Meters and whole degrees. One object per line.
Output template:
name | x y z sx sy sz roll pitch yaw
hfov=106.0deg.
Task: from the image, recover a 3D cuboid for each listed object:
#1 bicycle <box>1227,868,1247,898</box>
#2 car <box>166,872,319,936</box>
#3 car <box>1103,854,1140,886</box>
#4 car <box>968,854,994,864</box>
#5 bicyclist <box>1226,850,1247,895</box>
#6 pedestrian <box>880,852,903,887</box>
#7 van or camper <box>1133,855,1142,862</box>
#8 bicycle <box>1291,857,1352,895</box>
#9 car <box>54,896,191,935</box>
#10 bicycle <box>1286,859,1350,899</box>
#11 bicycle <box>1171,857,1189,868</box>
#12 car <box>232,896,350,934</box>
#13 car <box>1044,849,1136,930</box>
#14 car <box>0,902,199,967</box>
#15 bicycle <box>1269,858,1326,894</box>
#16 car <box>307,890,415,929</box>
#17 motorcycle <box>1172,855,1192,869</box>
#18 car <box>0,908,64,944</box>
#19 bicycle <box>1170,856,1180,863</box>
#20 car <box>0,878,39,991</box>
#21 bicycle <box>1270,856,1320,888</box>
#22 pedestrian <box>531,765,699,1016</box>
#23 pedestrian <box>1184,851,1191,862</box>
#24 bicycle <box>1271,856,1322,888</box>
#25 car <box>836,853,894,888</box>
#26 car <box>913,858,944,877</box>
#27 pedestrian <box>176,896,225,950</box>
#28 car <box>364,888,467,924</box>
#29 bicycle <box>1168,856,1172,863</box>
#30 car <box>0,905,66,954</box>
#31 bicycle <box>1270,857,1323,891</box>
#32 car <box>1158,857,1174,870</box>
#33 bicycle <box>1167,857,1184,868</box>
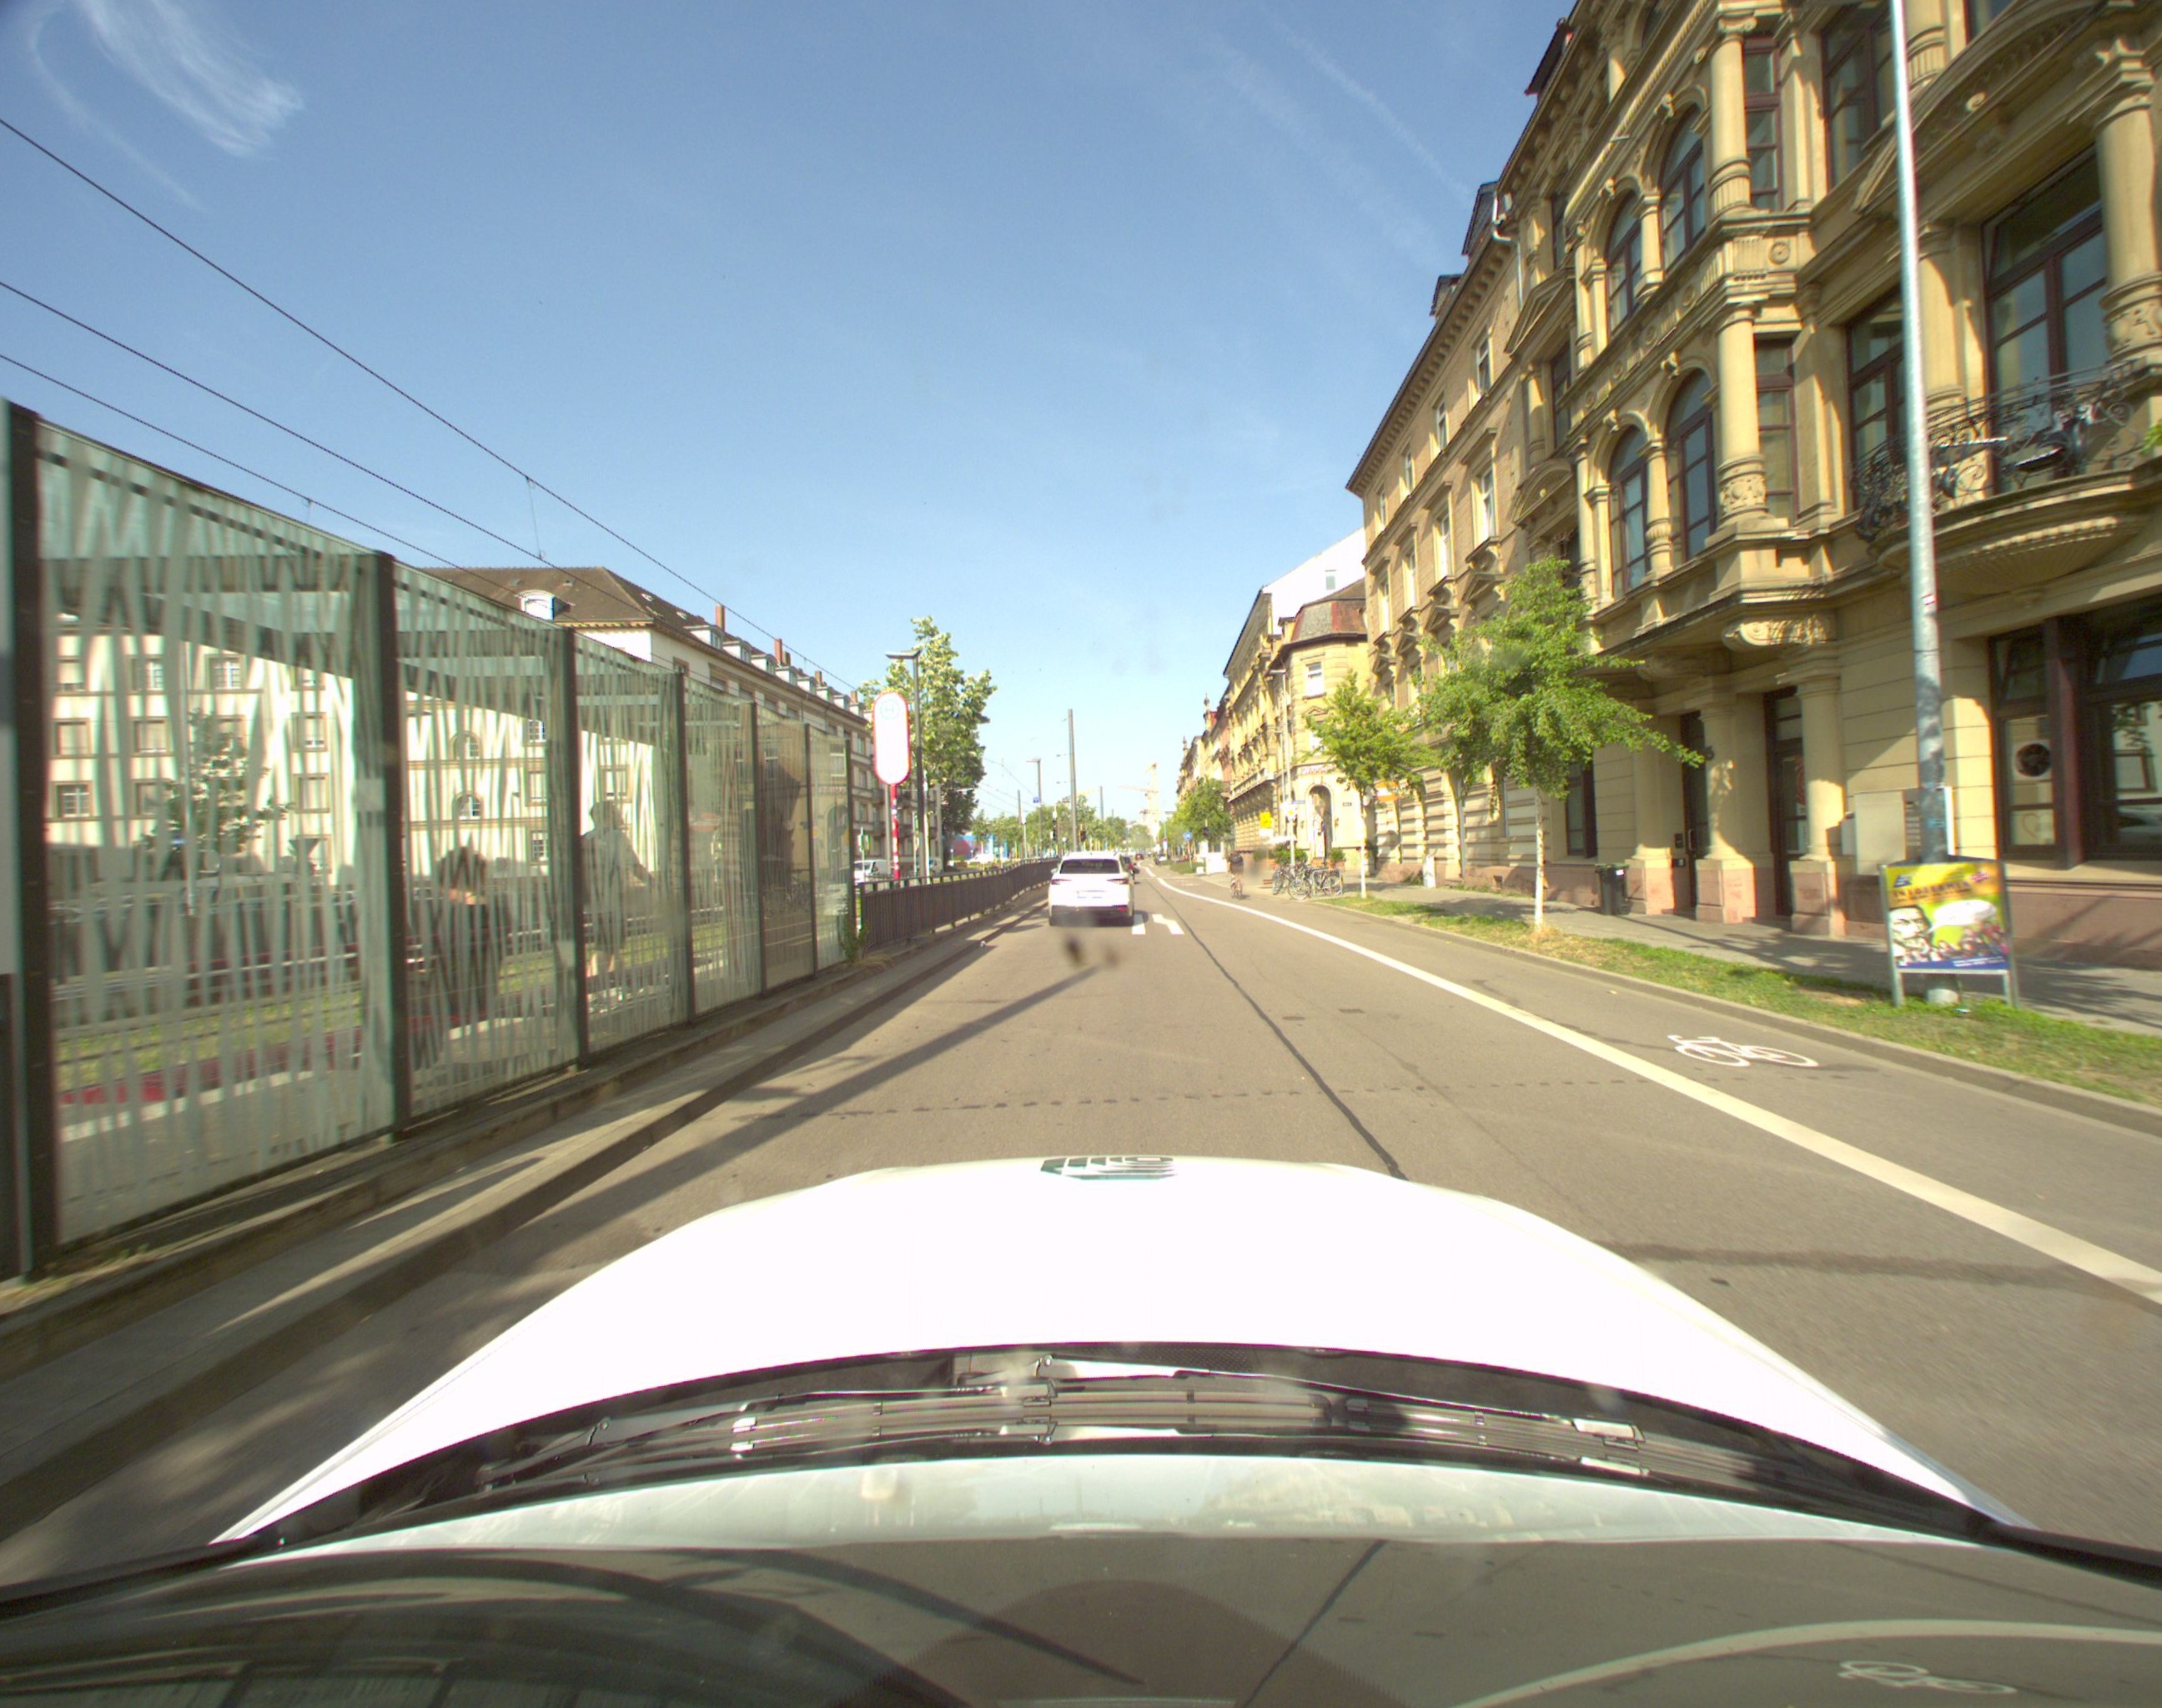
bicycle | 5.200 0.967 27.224 0.502 0.953 1.788 -2 -1 7
car | -39.106 2.251 38.208 1.989 2.583 5.047 -3 0 -3
car | 2.083 0.773 40.930 1.746 1.484 4.411 -2 0 4
car | -27.267 1.458 221.961 6.891 2.638 2.500 0 -1 -17
bicyclist | 5.173 0.613 27.077 0.580 1.482 0.933 -2 -1 7
pedestrian | -10.445 0.876 44.859 1.073 1.867 0.857 -2 -1 -24
van or camper | 13.737 1.011 197.640 1.985 1.655 4.004 -3 0 3
bicycle | 7.980 0.725 27.081 1.753 1.087 0.656 -6 -1 -6
car | -43.820 2.788 37.361 1.668 1.416 3.893 -3 0 -2
bicycle | 7.421 0.775 25.541 1.753 1.087 0.609 -6 -1 -6
bicycle | 10.833 0.916 89.094 1.802 1.096 0.671 -4 0 -2
car | -36.540 2.790 37.818 1.668 1.416 3.923 -3 0 -2
car | 0.326 0.724 18.699 1.809 1.590 4.411 -2 0 4
car | -31.622 2.522 26.067 1.758 1.599 4.554 -3 0 -1
bicycle | 7.514 0.758 28.315 1.761 1.087 0.668 -5 -1 -20
car | -34.198 2.611 38.841 1.668 1.532 3.923 -3 0 -2
motorcycle | 10.557 0.813 84.975 2.048 1.287 0.698 -4 0 -30
car | -48.716 3.304 36.381 1.668 1.416 3.893 -3 0 -2
bicycle | 15.237 0.953 132.146 1.888 1.082 0.449 0 -3 -45
car | -18.892 1.381 11.517 1.981 1.805 4.646 -3 0 11
bicycle | 8.315 0.685 31.630 1.743 1.087 0.584 -5 0 6
pedestrian | -3.982 0.296 7.061 0.830 2.014 1.028 0 -1 0
pedestrian | 17.534 0.382 134.258 0.820 1.696 0.793 -4 0 0
bicycle | 8.194 0.678 31.034 1.743 1.087 0.584 -5 0 6
car | -13.429 0.994 50.902 1.985 2.013 4.935 -3 0 3
car | -16.094 1.436 86.155 1.984 1.918 5.159 -1 0 4
pedestrian | -26.889 2.103 24.877 0.672 1.583 0.812 -3 -1 24
car | -31.728 2.458 38.996 1.668 1.405 3.997 -3 0 -2
bicycle | 14.551 0.961 133.070 0.490 1.094 1.828 -2 0 4
car | -36.594 2.594 26.515 1.986 1.508 4.001 -3 0 1
bicycle | 7.859 0.720 29.793 1.745 1.087 0.670 -5 0 8
car | 11.645 1.276 111.938 1.763 1.588 4.248 -4 0 0
bicycle | 10.428 0.928 90.313 1.778 1.054 0.373 -4 0 2
